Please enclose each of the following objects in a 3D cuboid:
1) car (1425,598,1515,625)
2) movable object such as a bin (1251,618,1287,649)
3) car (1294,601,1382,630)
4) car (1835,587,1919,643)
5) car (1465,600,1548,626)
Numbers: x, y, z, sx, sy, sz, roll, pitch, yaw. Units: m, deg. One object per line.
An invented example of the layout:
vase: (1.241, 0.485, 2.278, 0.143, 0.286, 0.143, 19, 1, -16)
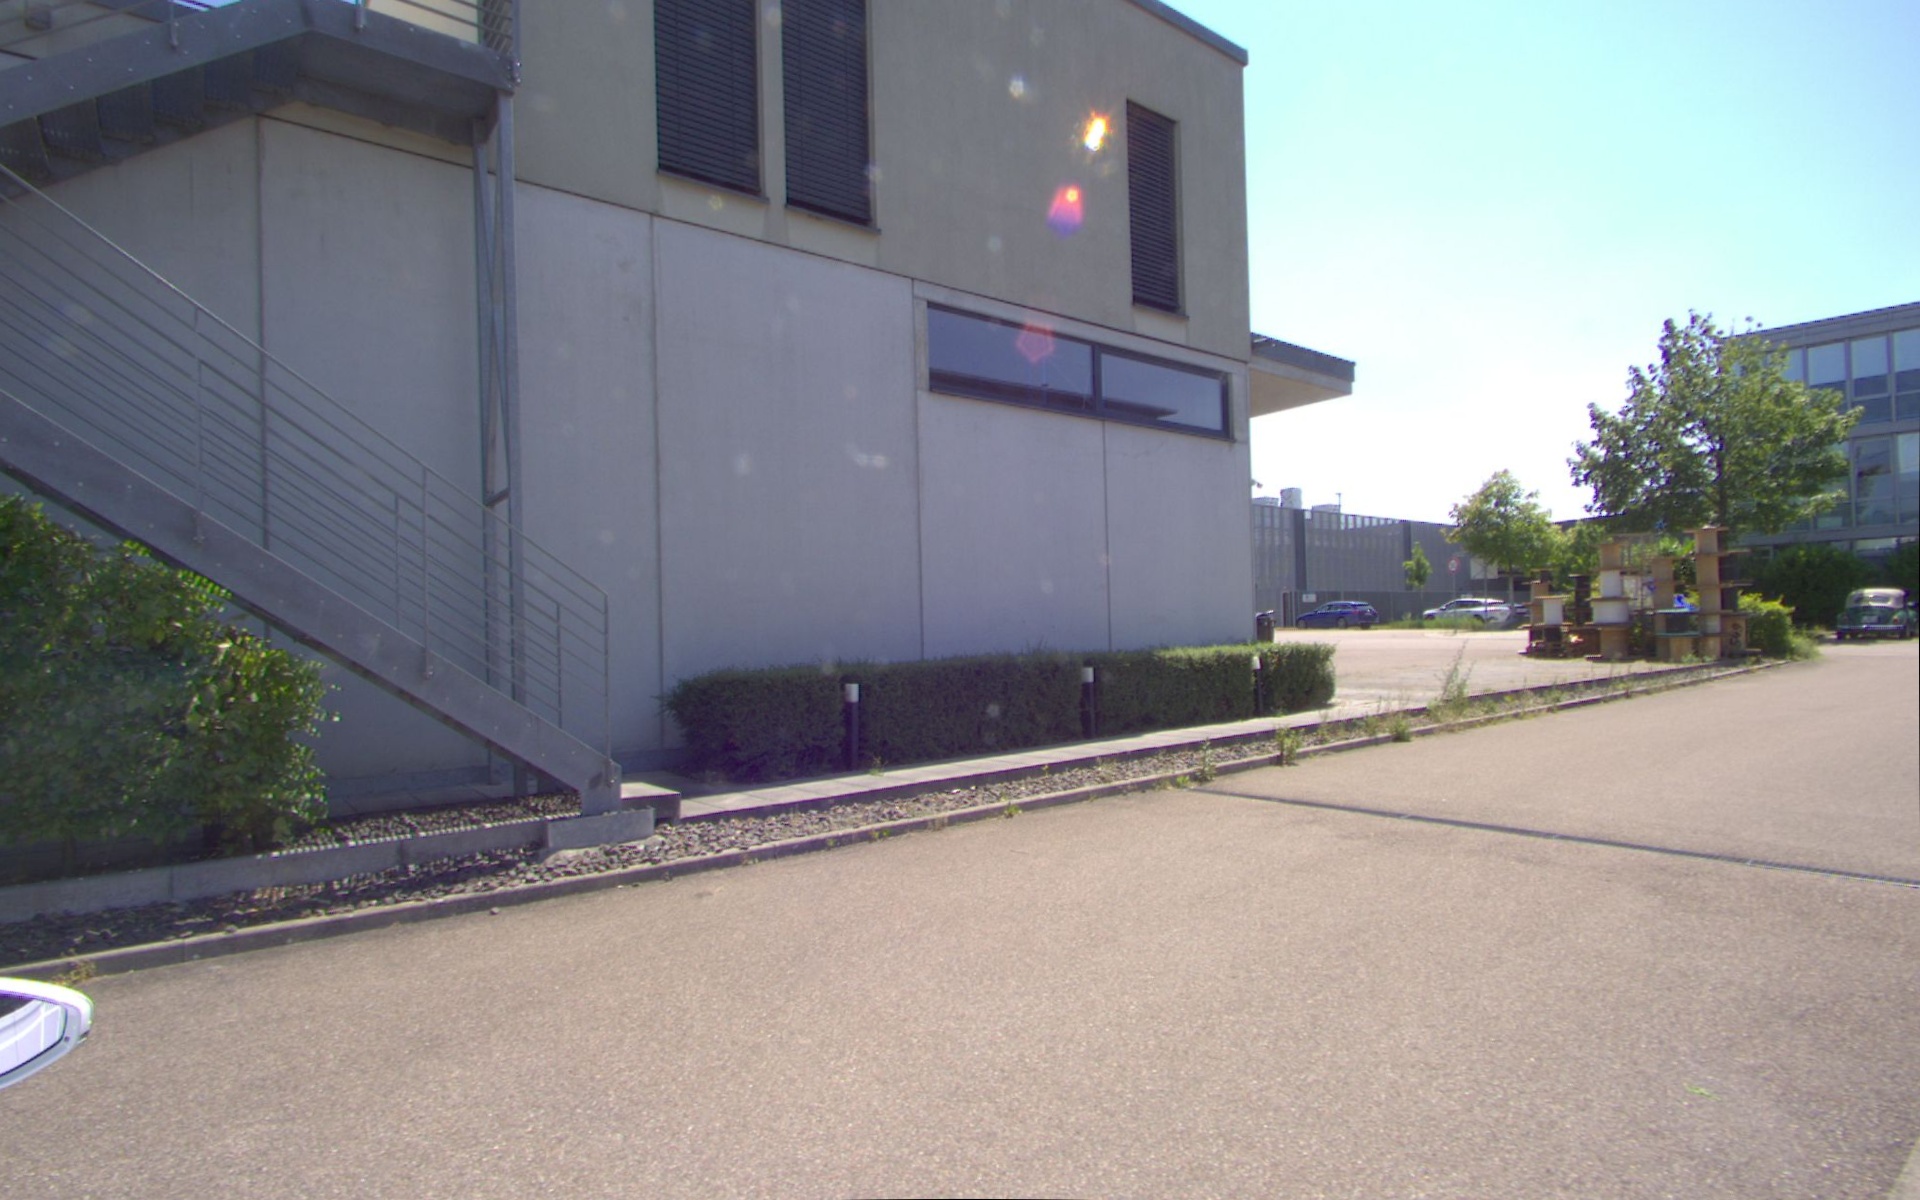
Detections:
car: (28.706, 0.660, 56.480, 1.722, 1.433, 4.432, 1, -2, -25)
movable object such as a bin: (9.954, 1.078, 32.282, 0.801, 0.993, 0.811, 0, -1, -39)
car: (19.776, 0.864, 52.602, 1.722, 1.433, 4.434, 1, -2, -24)
car: (27.374, 0.451, 29.637, 3.958, 1.538, 1.734, 1, -2, -42)
car: (31.673, 0.775, 58.161, 1.722, 1.433, 4.052, 1, -2, -25)
